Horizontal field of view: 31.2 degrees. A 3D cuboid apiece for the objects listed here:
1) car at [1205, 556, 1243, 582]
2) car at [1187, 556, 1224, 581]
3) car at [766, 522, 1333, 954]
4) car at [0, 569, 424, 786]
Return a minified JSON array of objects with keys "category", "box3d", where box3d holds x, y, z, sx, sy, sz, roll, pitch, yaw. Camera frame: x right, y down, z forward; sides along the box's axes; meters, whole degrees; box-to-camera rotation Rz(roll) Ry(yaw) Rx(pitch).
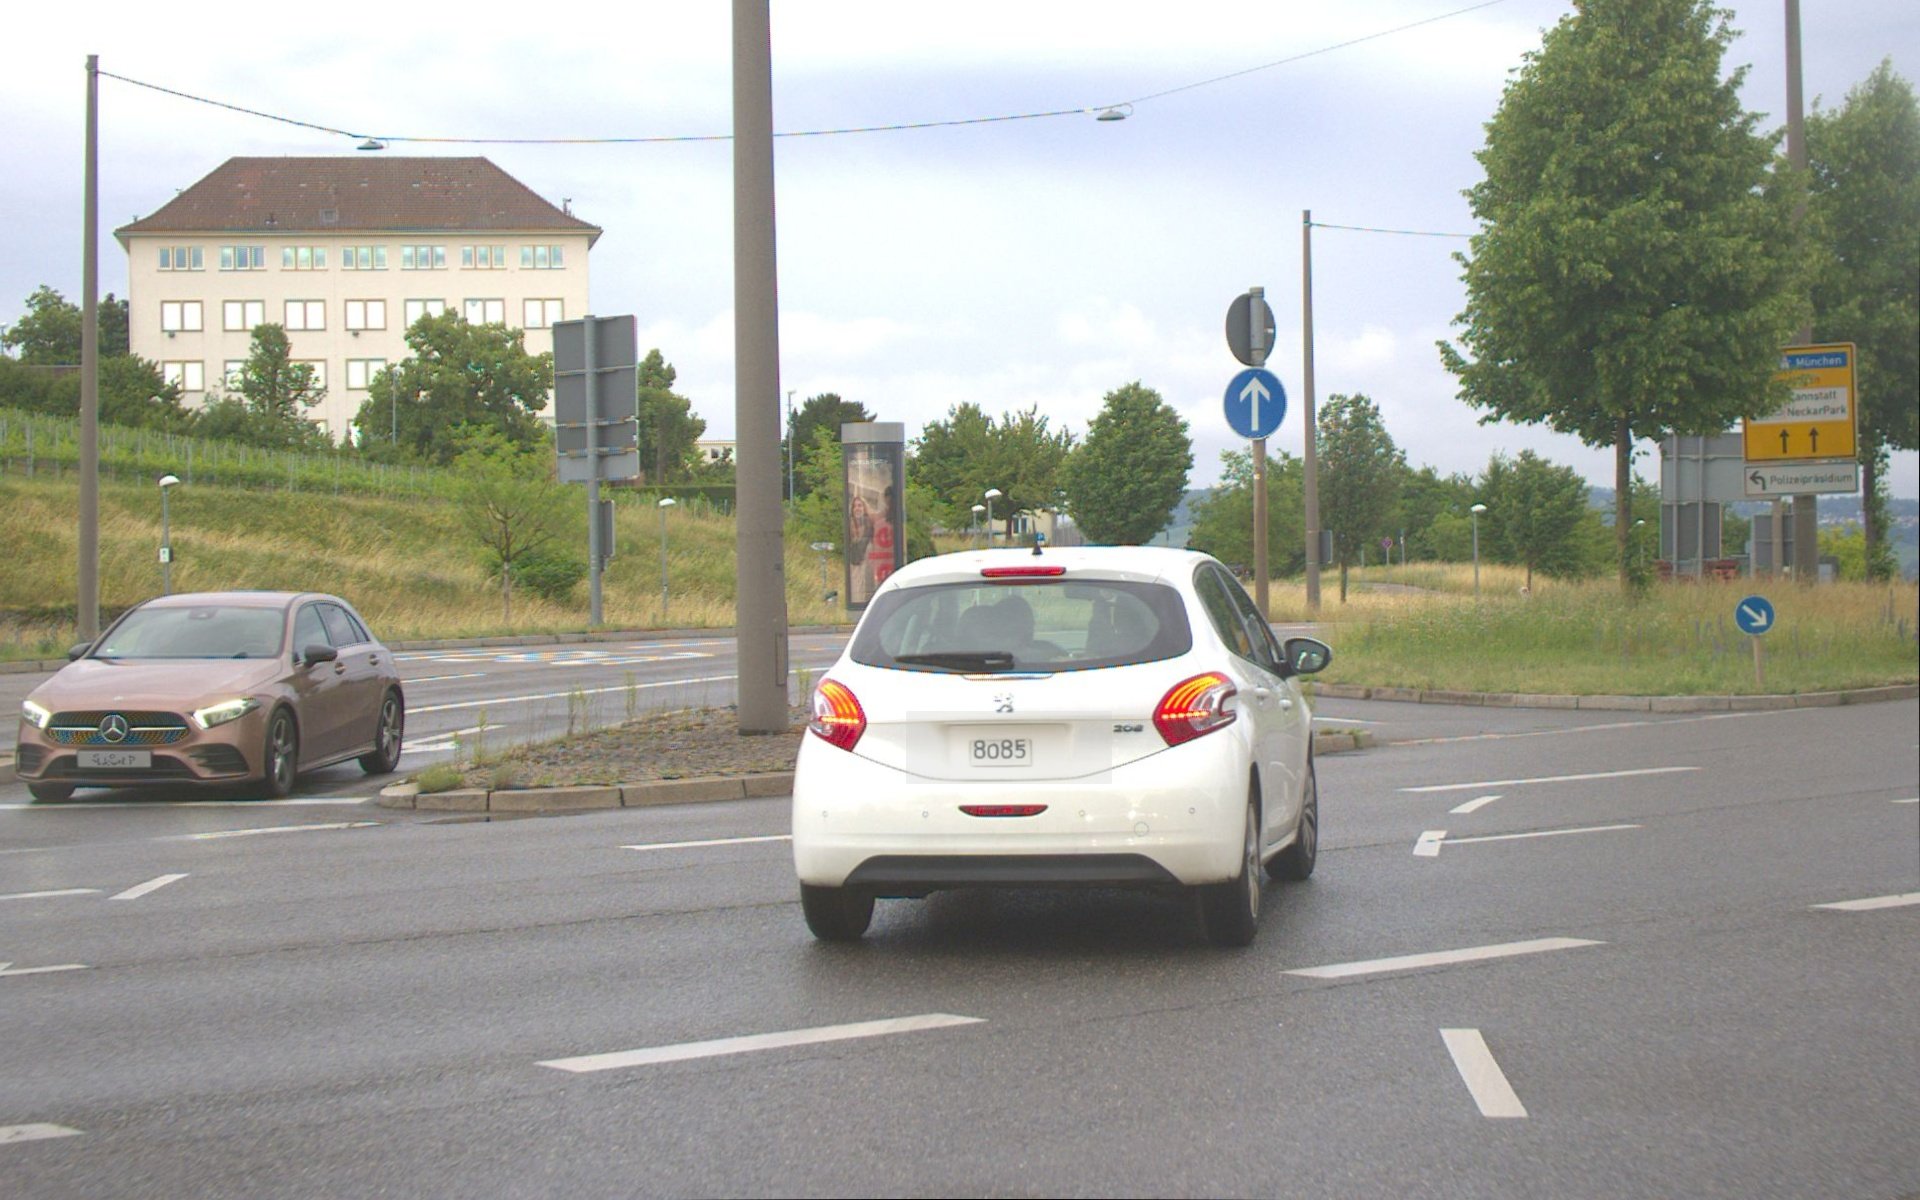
[{"category":"car","box3d":[15.254,-1.812,198.935,1.841,1.481,4.000,-1,1,-1]},{"category":"car","box3d":[14.791,-1.918,207.334,1.841,1.481,4.000,-1,1,-1]},{"category":"car","box3d":[0.510,0.447,13.903,1.718,1.484,3.998,0,1,10]},{"category":"car","box3d":[-5.365,0.503,25.076,1.776,1.420,4.373,-1,0,6]}]
